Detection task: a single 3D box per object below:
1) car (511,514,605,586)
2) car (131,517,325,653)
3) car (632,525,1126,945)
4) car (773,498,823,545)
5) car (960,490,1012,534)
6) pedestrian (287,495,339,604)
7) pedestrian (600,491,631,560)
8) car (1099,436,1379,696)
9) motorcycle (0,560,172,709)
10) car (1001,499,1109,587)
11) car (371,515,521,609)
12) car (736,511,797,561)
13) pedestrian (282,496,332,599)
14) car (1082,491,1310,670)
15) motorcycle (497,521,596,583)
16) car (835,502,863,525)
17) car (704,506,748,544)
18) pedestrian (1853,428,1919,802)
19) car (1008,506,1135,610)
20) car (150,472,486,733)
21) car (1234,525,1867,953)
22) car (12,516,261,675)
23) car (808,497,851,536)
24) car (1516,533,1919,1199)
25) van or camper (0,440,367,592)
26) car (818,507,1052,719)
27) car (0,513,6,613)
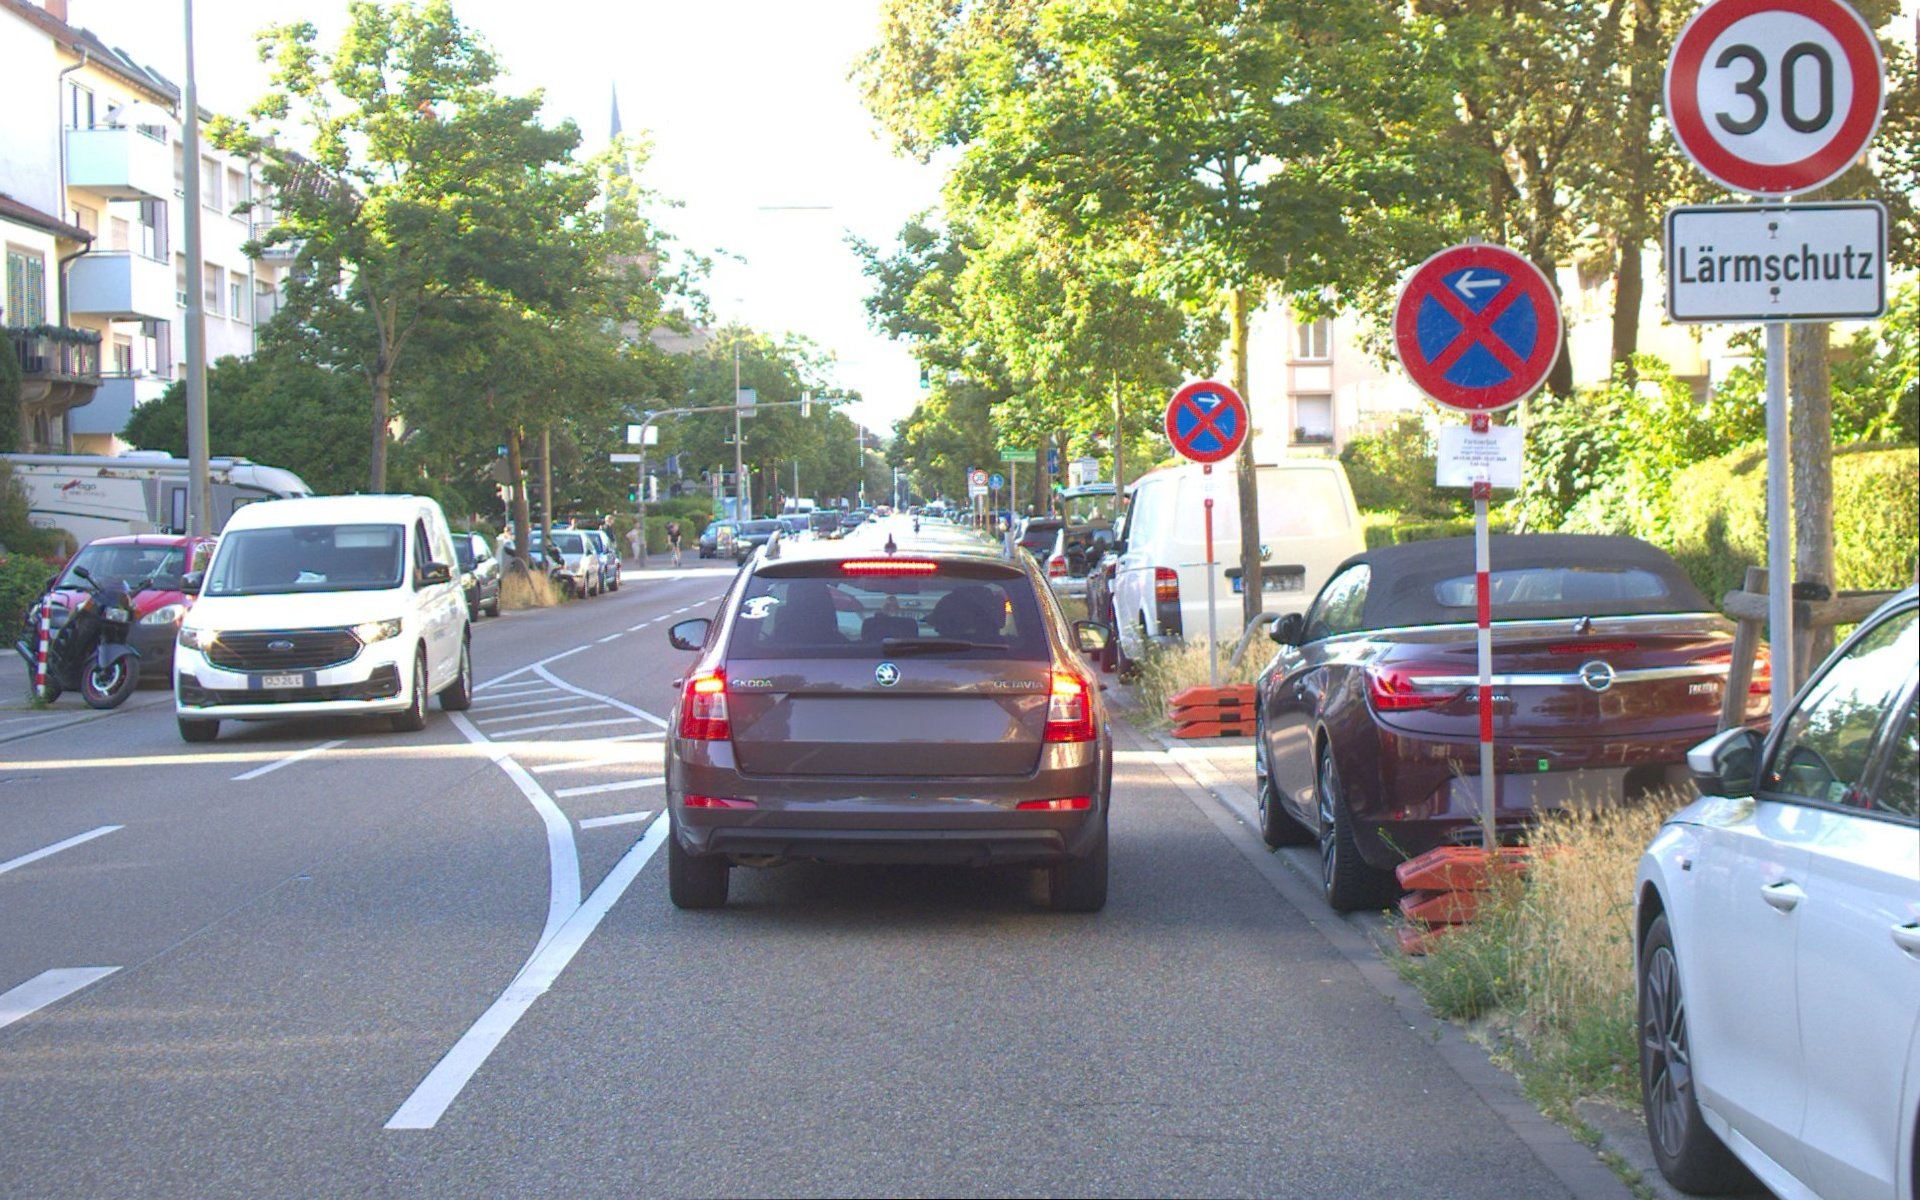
[{"bbox_3d":[-8.736,-1.110,74.908,1.593,1.465,3.804,1,2,0],"label":"car"},{"bbox_3d":[-8.759,-0.216,41.424,1.593,1.518,3.891,-1,2,-2],"label":"car"},{"bbox_3d":[-0.332,0.442,14.558,1.773,1.484,4.311,0,2,-1],"label":"car"},{"bbox_3d":[-6.535,-3.167,138.820,1.805,1.798,4.746,-3,2,-1],"label":"car"},{"bbox_3d":[1.078,-3.621,141.536,1.994,1.765,4.000,1,2,2],"label":"car"},{"bbox_3d":[-10.781,-0.844,57.279,0.713,1.786,0.506,-1,1,2],"label":"pedestrian"},{"bbox_3d":[-10.065,-2.181,100.473,0.780,1.981,0.821,-1,1,0],"label":"pedestrian"},{"bbox_3d":[2.373,-0.345,30.397,1.903,2.096,4.641,-1,2,-2],"label":"car"},{"bbox_3d":[-8.048,0.284,31.416,1.179,1.261,2.371,-2,2,-24],"label":"motorcycle"},{"bbox_3d":[1.810,-1.126,66.601,1.855,1.576,4.014,-3,2,-1],"label":"car"},{"bbox_3d":[-8.623,-0.675,57.963,1.867,1.489,4.518,1,2,0],"label":"car"},{"bbox_3d":[-6.570,-2.176,116.998,1.835,1.565,4.000,-3,1,-1],"label":"car"},{"bbox_3d":[-11.504,-0.924,60.562,0.713,1.786,0.572,-1,1,2],"label":"pedestrian"},{"bbox_3d":[2.326,-0.248,34.869,1.855,1.598,4.312,-3,2,-1],"label":"car"},{"bbox_3d":[-8.570,-0.991,71.201,2.052,1.260,0.765,0,2,38],"label":"motorcycle"},{"bbox_3d":[-7.862,-6.148,243.716,1.830,1.574,4.000,-1,2,0],"label":"car"},{"bbox_3d":[-9.334,-2.999,137.266,1.522,1.452,3.585,-1,2,0],"label":"car"},{"bbox_3d":[4.901,0.056,16.588,0.820,1.767,1.089,-1,1,-5],"label":"pedestrian"},{"bbox_3d":[1.712,-0.693,54.004,1.708,1.475,4.269,-3,2,-1],"label":"car"},{"bbox_3d":[-4.935,-0.044,27.026,1.888,1.797,4.432,-3,2,-2],"label":"car"},{"bbox_3d":[2.303,0.449,14.633,1.757,1.415,4.615,-3,2,-1],"label":"car"},{"bbox_3d":[-8.381,-0.084,35.263,1.593,1.518,3.436,-1,2,2],"label":"car"},{"bbox_3d":[-6.678,-4.287,175.885,1.993,1.902,4.964,-3,2,-1],"label":"car"},{"bbox_3d":[2.303,0.637,6.170,1.821,1.472,4.622,-1,2,0],"label":"car"},{"bbox_3d":[-15.214,-1.646,67.262,6.797,2.763,2.352,1,1,-1],"label":"van or camper"},{"bbox_3d":[-0.213,0.046,27.891,1.736,1.565,4.000,1,2,-1],"label":"car"},{"bbox_3d":[-14.409,-0.447,46.889,1.665,1.404,3.753,-2,2,1],"label":"car"}]
